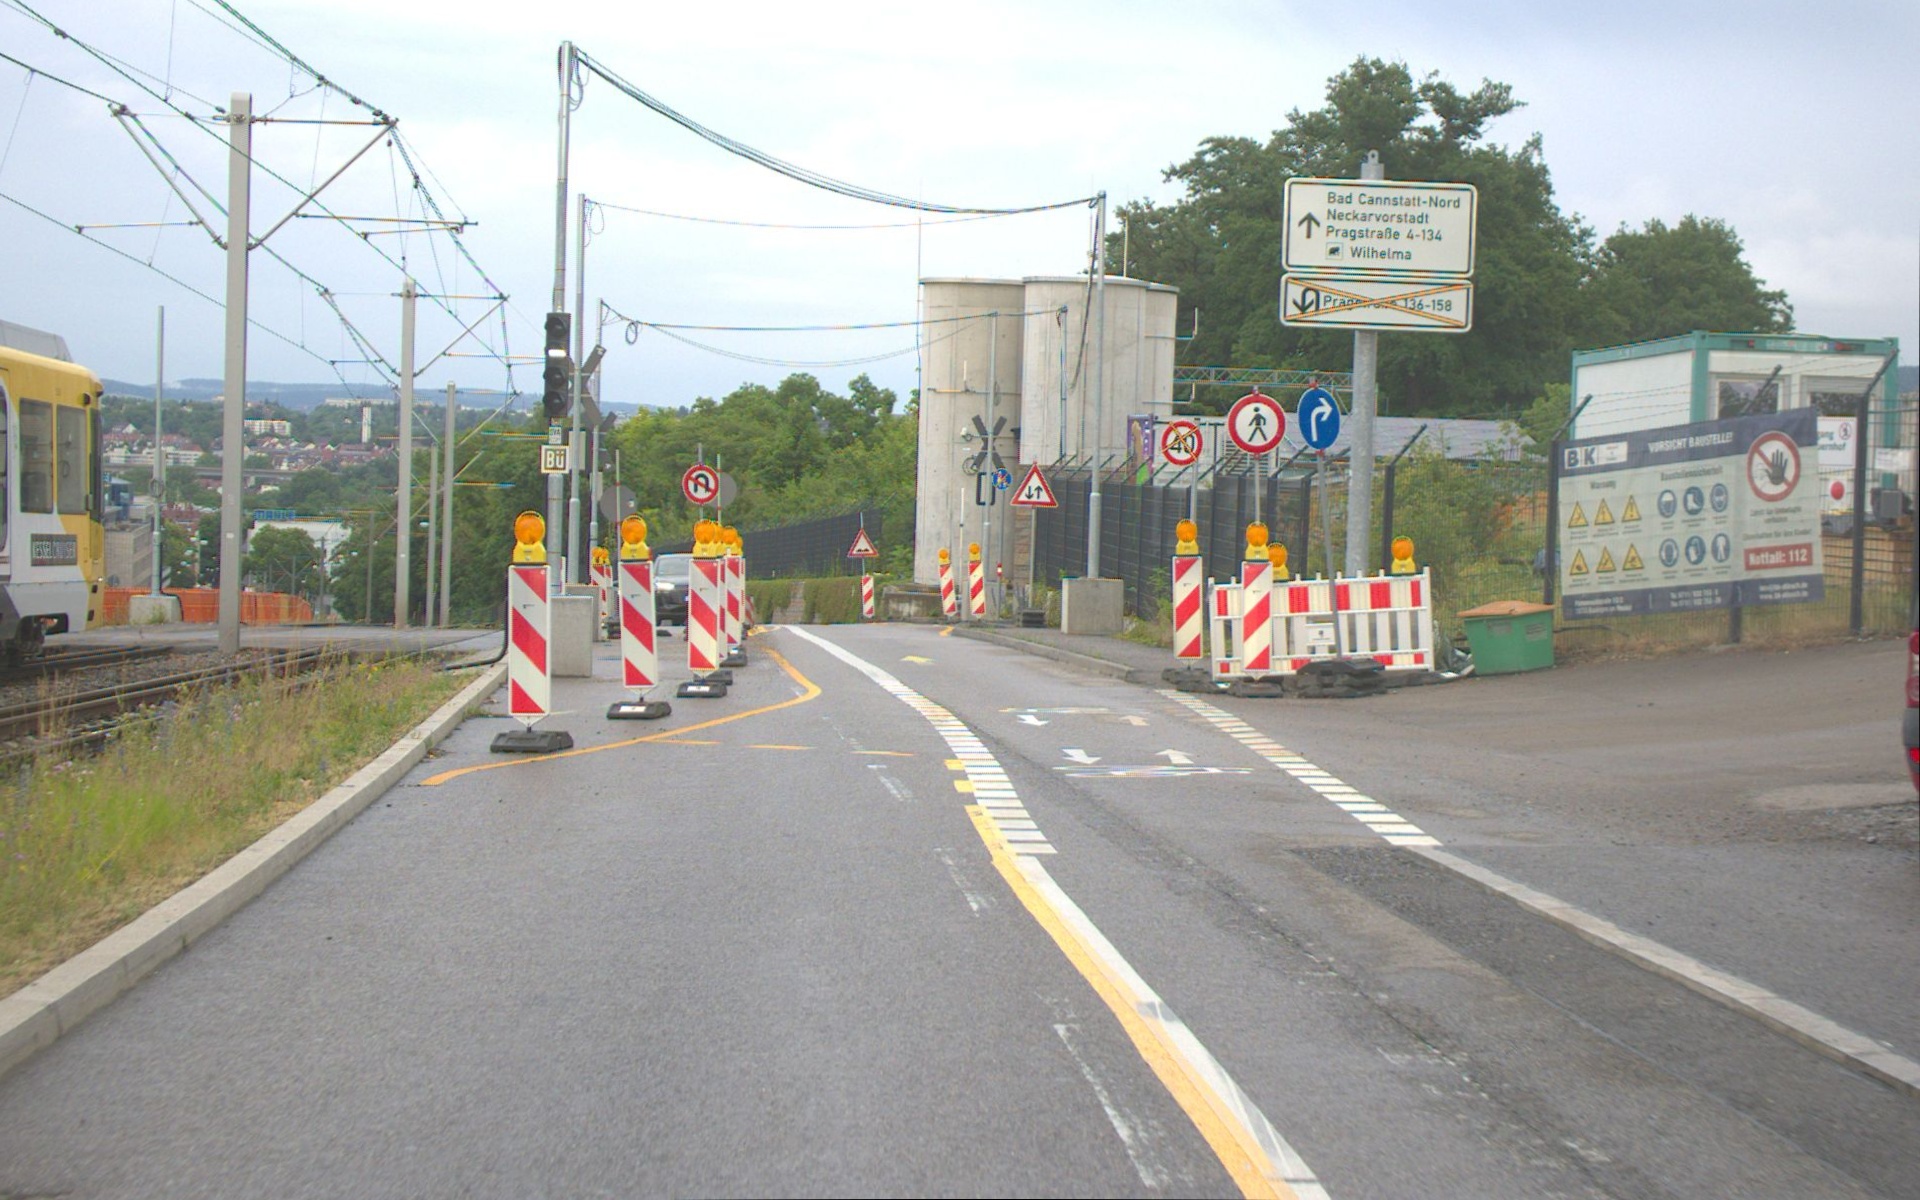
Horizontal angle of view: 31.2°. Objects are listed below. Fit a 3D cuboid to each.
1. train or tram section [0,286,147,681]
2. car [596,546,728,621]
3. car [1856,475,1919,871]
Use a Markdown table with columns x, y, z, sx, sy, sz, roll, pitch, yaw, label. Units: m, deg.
| x | y | z | sx | sy | sz | roll | pitch | yaw | label |
| --- | --- | --- | --- | --- | --- | --- | --- | --- | --- |
| -10.813 | -1.111 | 30.772 | 2.955 | 3.872 | 19.293 | 2 | 1 | -2 | train or tram section |
| -6.895 | -0.390 | 79.022 | 1.993 | 1.672 | 4.490 | 0 | 1 | -19 | car |
| 5.970 | 0.315 | 17.154 | 1.822 | 1.787 | 4.402 | 1 | 1 | 29 | car |
